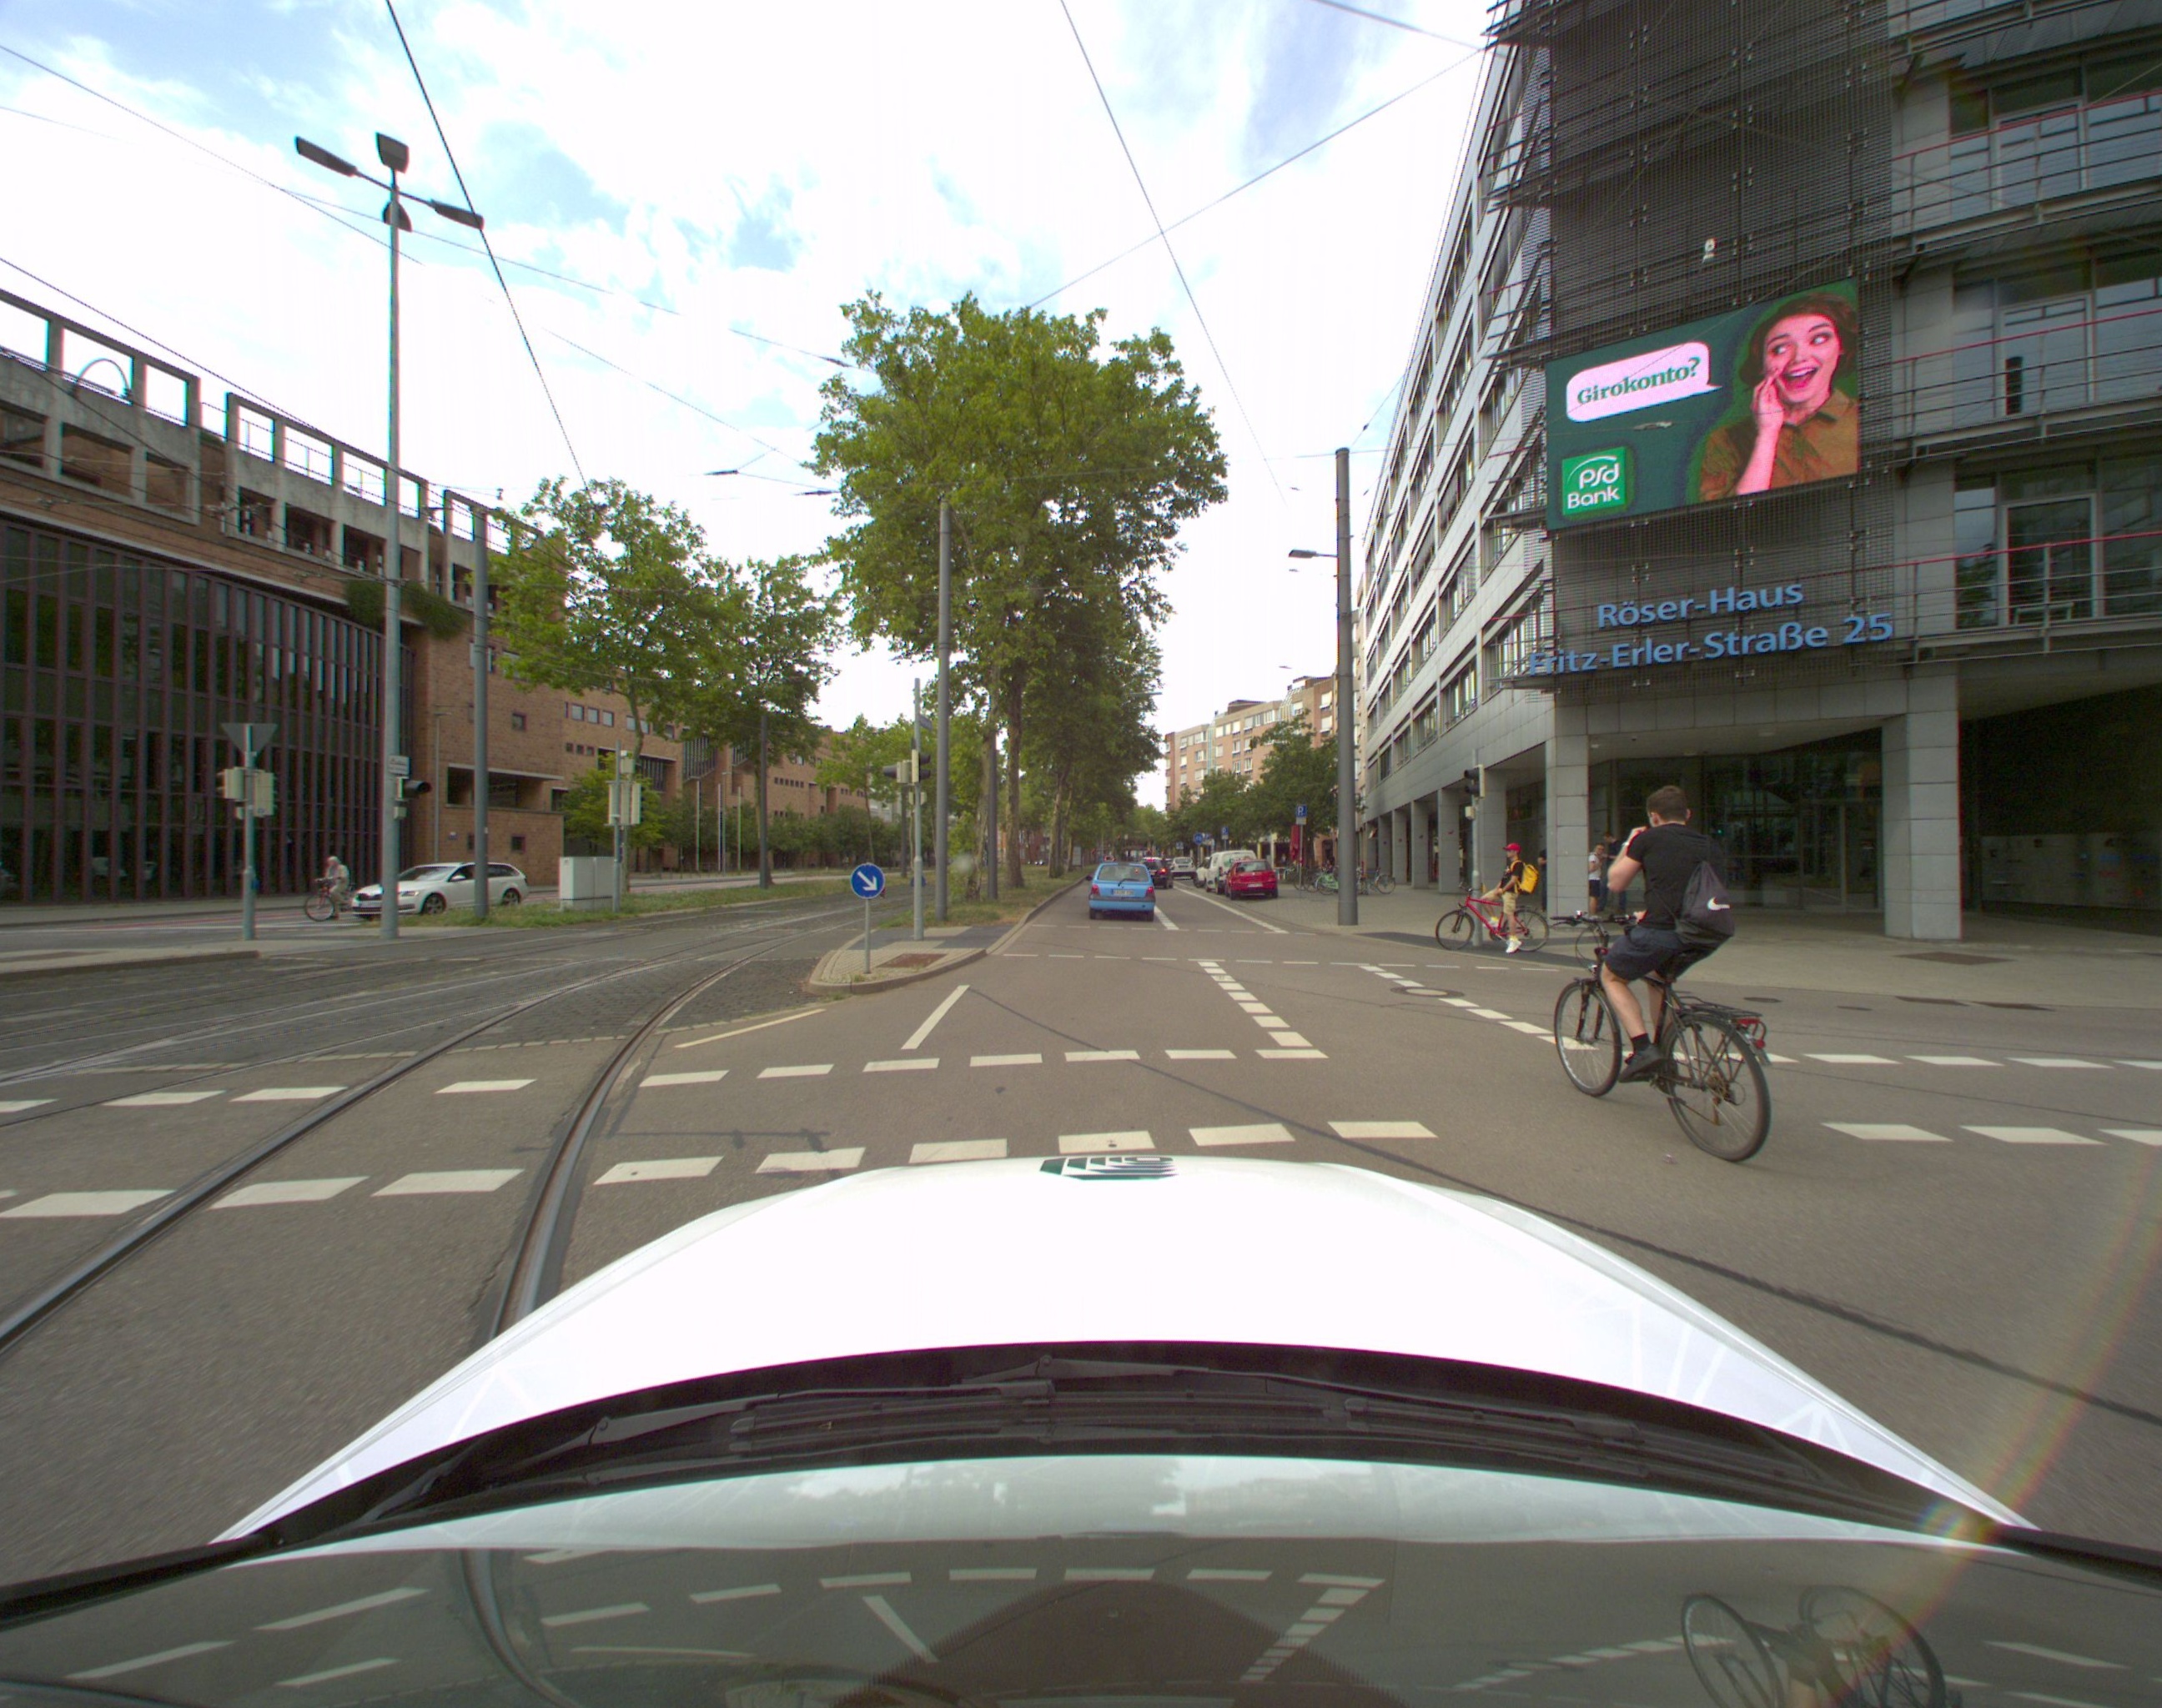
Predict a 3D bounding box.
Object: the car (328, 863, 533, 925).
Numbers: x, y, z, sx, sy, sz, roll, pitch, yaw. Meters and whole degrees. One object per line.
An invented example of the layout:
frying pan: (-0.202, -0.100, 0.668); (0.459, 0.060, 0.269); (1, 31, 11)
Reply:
car: (-17.455, 1.008, 22.229); (1.777, 1.421, 4.659); (-1, 0, 1)

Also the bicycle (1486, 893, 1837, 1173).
bicycle: (3.106, 0.849, 4.676); (0.592, 1.139, 2.092); (-1, 0, 3)

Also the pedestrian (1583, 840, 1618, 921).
pedestrian: (11.199, 0.559, 17.566); (0.549, 1.726, 0.498); (-1, 1, 24)

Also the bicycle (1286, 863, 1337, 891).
bicycle: (9.855, 0.982, 34.813); (2.043, 1.197, 0.481); (-1, 0, 9)

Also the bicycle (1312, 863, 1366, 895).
bicycle: (9.484, 0.919, 29.983); (1.846, 1.139, 0.492); (-1, 0, -5)

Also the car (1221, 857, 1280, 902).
car: (6.262, 0.899, 30.491); (1.713, 1.432, 4.261); (-3, 0, 6)

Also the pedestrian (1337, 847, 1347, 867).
pedestrian: (20.846, 0.252, 64.932); (0.705, 1.555, 0.802); (-1, 0, 15)

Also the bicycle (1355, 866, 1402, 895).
bicycle: (10.773, 0.954, 29.473); (1.554, 0.987, 0.422); (-1, 0, -3)

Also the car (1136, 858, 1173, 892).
car: (3.891, 1.068, 42.519); (1.765, 1.577, 4.313); (-2, 0, 7)

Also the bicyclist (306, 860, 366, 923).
bicyclist: (-19.500, 0.962, 21.334); (0.720, 1.609, 0.902); (-1, 0, 1)

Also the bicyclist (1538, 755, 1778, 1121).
bicyclist: (3.091, 0.408, 4.474); (0.587, 1.768, 1.035); (-1, 0, 2)

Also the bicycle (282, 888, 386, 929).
bicycle: (-19.499, 1.393, 21.341); (0.727, 0.917, 2.124); (-1, 0, 1)

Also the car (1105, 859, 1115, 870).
car: (5.669, 1.998, 157.353); (1.924, 1.925, 4.959); (0, 0, 2)

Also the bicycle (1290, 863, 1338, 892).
bicycle: (9.792, 0.996, 34.281); (1.897, 1.197, 0.481); (-1, 0, 9)

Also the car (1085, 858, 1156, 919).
car: (1.024, 0.818, 20.862); (1.634, 1.386, 3.846); (0, 0, 3)

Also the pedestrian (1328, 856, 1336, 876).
pedestrian: (20.099, 0.956, 65.225); (0.508, 1.555, 0.475); (-1, 0, 15)

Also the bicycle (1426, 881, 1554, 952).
bicycle: (7.031, 1.062, 14.101); (1.883, 1.139, 0.730); (-1, 0, 20)

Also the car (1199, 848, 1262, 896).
car: (6.450, 0.722, 35.542); (1.821, 1.864, 4.647); (-2, 0, 0)

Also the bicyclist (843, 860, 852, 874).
bicyclist: (-26.569, 1.448, 92.630); (0.661, 1.590, 0.985); (0, 0, 5)

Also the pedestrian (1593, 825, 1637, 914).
pedestrian: (12.272, 0.345, 18.736); (0.598, 2.013, 0.677); (-1, 3, 8)

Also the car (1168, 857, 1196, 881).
car: (7.326, 1.060, 59.458); (1.852, 1.653, 4.170); (-1, 0, 5)

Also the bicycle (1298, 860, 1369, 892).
bicycle: (10.050, 0.885, 32.488); (2.622, 1.258, 0.655); (0, 0, 2)

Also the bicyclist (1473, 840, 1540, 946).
bicyclist: (7.293, 0.650, 14.010); (0.905, 1.764, 0.723); (-1, 0, 19)

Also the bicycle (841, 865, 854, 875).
bicycle: (-26.567, 1.830, 92.699); (0.665, 1.084, 2.096); (0, 0, 5)

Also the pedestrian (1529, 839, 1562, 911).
pedestrian: (11.353, 0.509, 19.918); (0.542, 1.726, 0.646); (-1, 1, 13)

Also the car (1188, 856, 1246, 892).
car: (6.989, 0.991, 42.344); (1.990, 1.602, 4.578); (-3, 0, -3)

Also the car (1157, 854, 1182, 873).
car: (7.452, 0.795, 68.587); (1.709, 1.519, 4.205); (-2, 0, 1)
